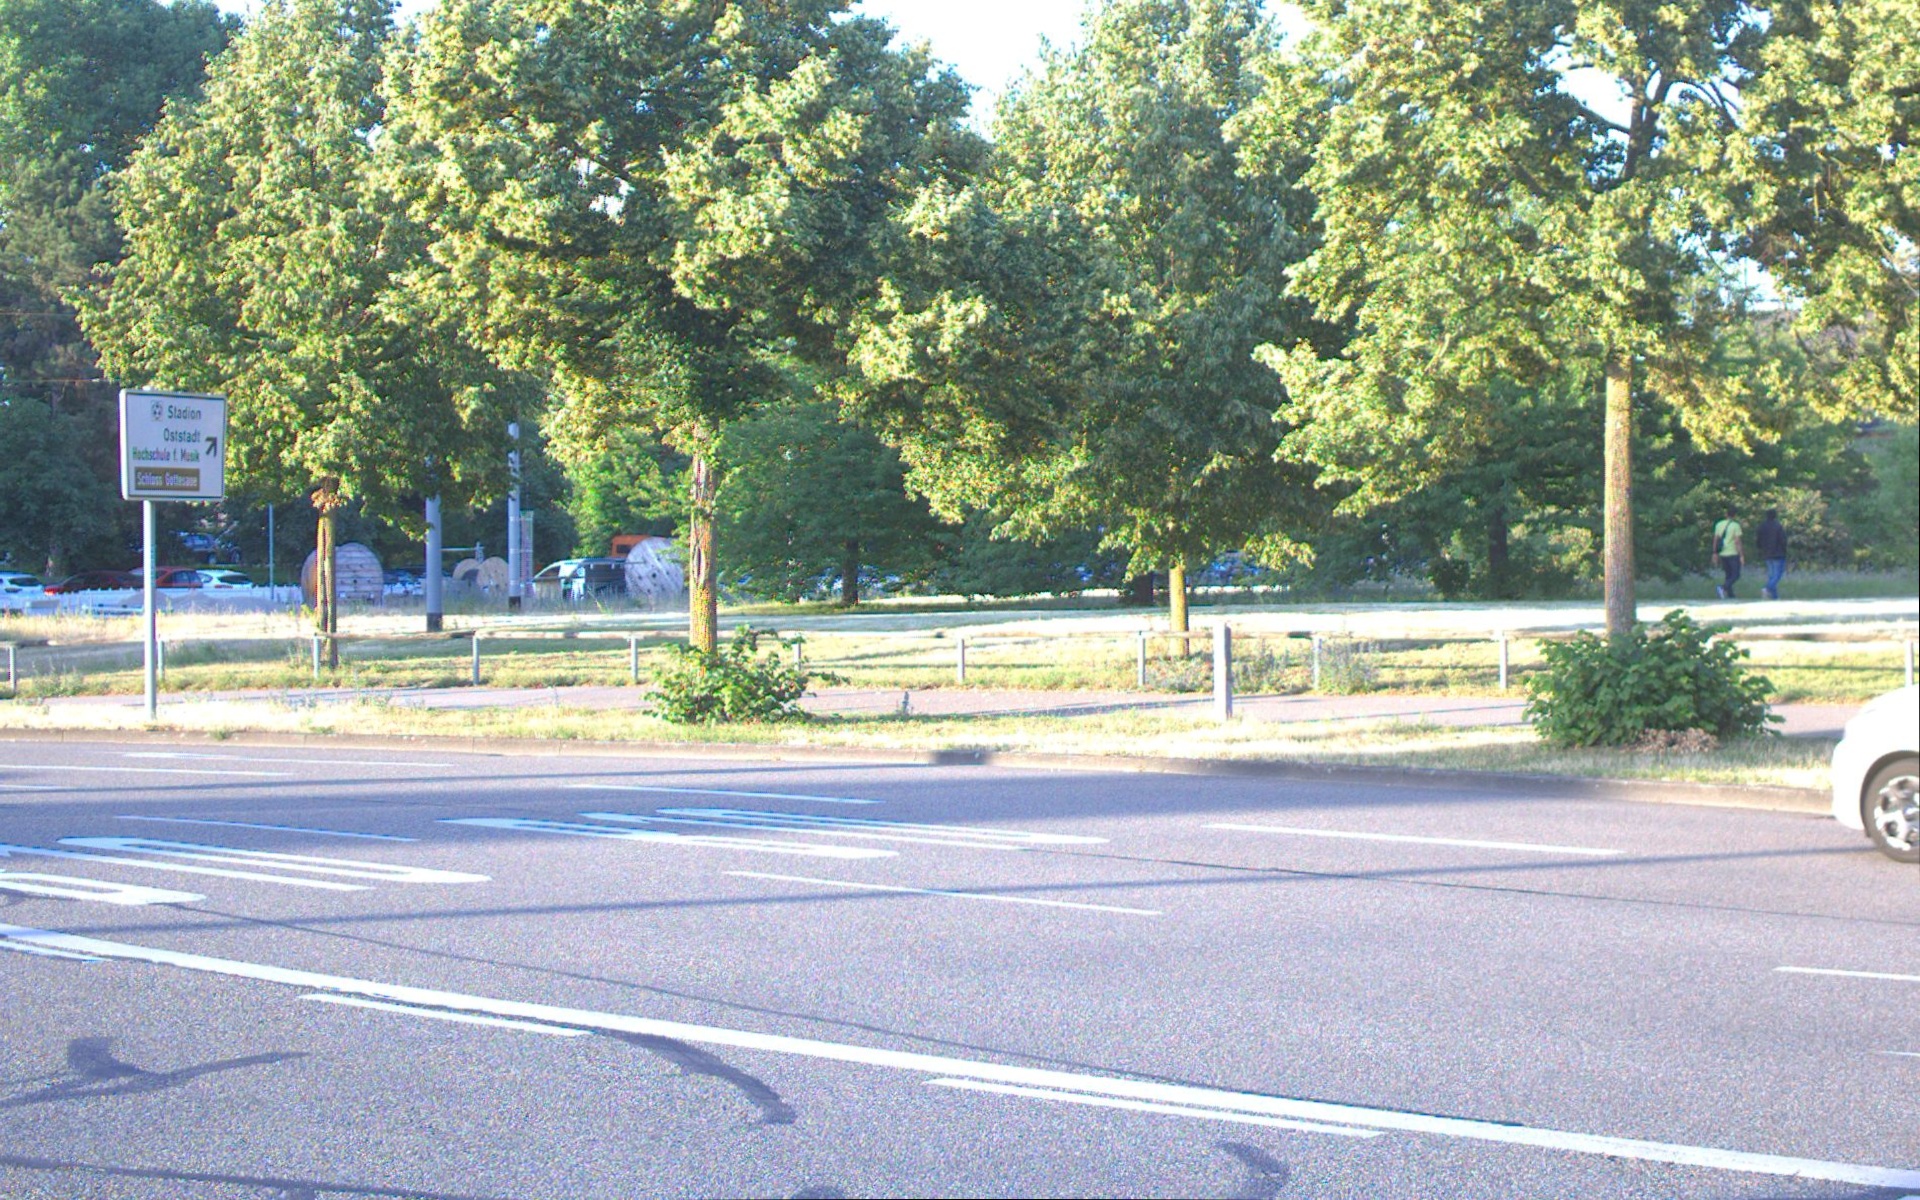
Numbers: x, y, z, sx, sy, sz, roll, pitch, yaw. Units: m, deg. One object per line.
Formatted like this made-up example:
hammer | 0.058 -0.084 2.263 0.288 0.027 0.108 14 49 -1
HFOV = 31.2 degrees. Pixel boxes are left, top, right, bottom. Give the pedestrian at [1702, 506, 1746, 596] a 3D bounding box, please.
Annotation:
pedestrian | 13.881 -0.899 62.478 0.579 1.621 0.533 -1 1 -31

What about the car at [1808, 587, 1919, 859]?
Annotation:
car | 6.378 0.653 17.976 1.550 1.438 3.484 0 0 -44

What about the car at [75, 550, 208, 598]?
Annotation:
car | -27.167 -0.879 114.088 3.994 1.545 1.997 0 1 31

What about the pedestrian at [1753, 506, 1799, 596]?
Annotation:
pedestrian | 14.798 -0.893 62.352 0.618 1.621 0.530 -1 1 -30

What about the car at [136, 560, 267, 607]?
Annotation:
car | -25.511 -0.559 115.626 3.994 1.545 1.997 0 1 31

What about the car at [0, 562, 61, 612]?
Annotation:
car | -30.439 -0.420 107.992 3.994 1.545 1.997 0 1 31
